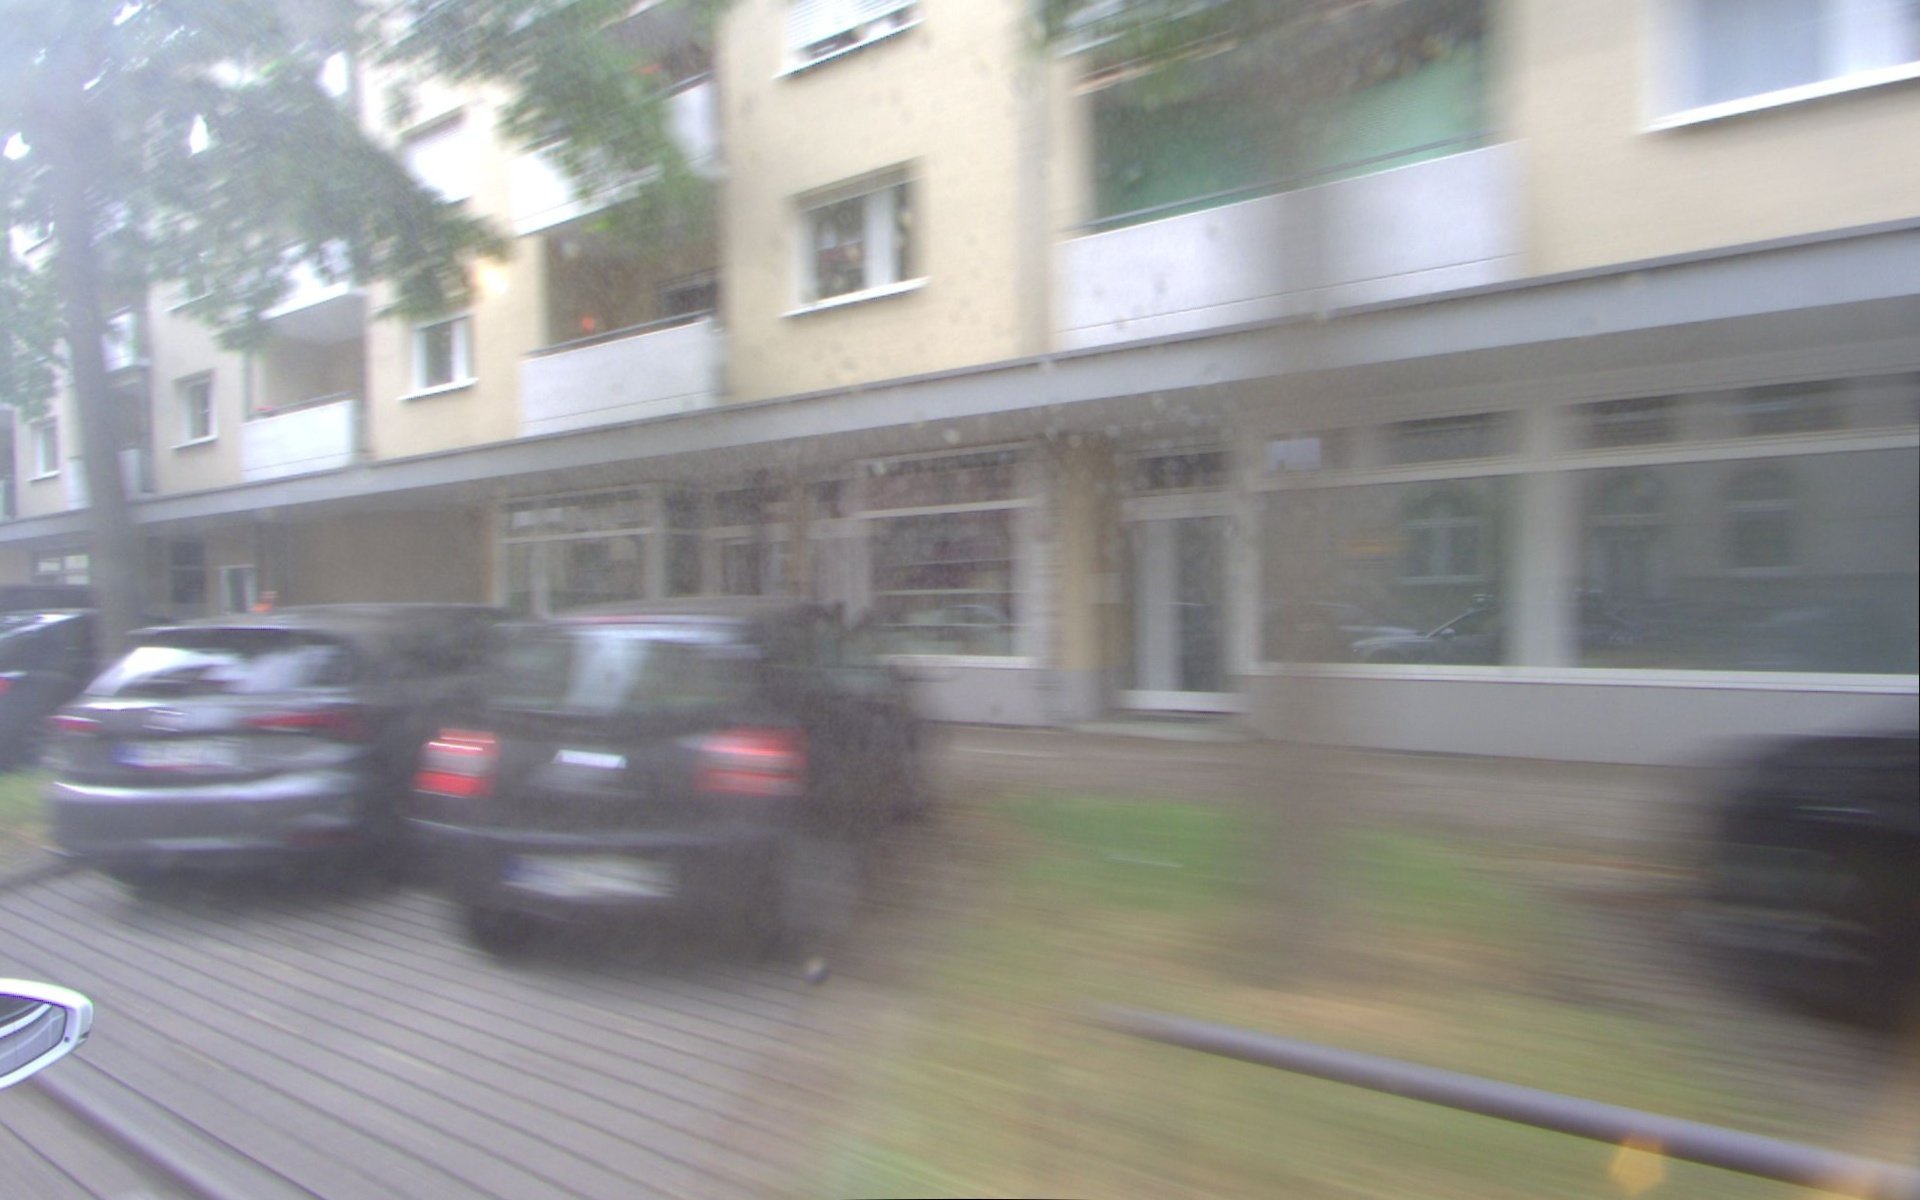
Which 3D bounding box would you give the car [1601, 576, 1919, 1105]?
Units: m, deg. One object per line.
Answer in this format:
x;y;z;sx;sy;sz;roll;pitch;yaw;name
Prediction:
3.543;0.654;2.090;1.817;1.461;4.113;-1;0;1;car

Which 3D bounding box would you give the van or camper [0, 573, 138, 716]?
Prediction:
-13.784;0.622;12.809;2.086;1.895;5.019;-1;1;4;van or camper

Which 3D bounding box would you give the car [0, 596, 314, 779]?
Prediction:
-8.882;0.757;10.025;1.910;1.503;4.050;-1;1;6;car

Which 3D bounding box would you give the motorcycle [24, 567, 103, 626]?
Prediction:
-20.736;-0.077;23.150;2.220;1.319;0.676;0;3;32;motorcycle

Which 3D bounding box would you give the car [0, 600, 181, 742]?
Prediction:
-11.426;0.805;11.448;1.876;1.522;3.860;-1;1;3;car

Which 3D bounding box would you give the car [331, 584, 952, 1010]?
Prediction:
-1.234;0.706;5.366;1.817;1.516;3.368;-1;0;9;car

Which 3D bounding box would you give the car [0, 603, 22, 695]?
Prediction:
-16.292;0.851;14.357;1.806;1.464;4.005;-1;2;1;car

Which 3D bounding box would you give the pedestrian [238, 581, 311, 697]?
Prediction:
-10.746;0.594;15.700;0.837;1.765;0.623;0;2;32;pedestrian

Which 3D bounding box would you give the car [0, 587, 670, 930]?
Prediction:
-3.696;0.725;6.740;1.937;1.521;4.224;-2;1;5;car
